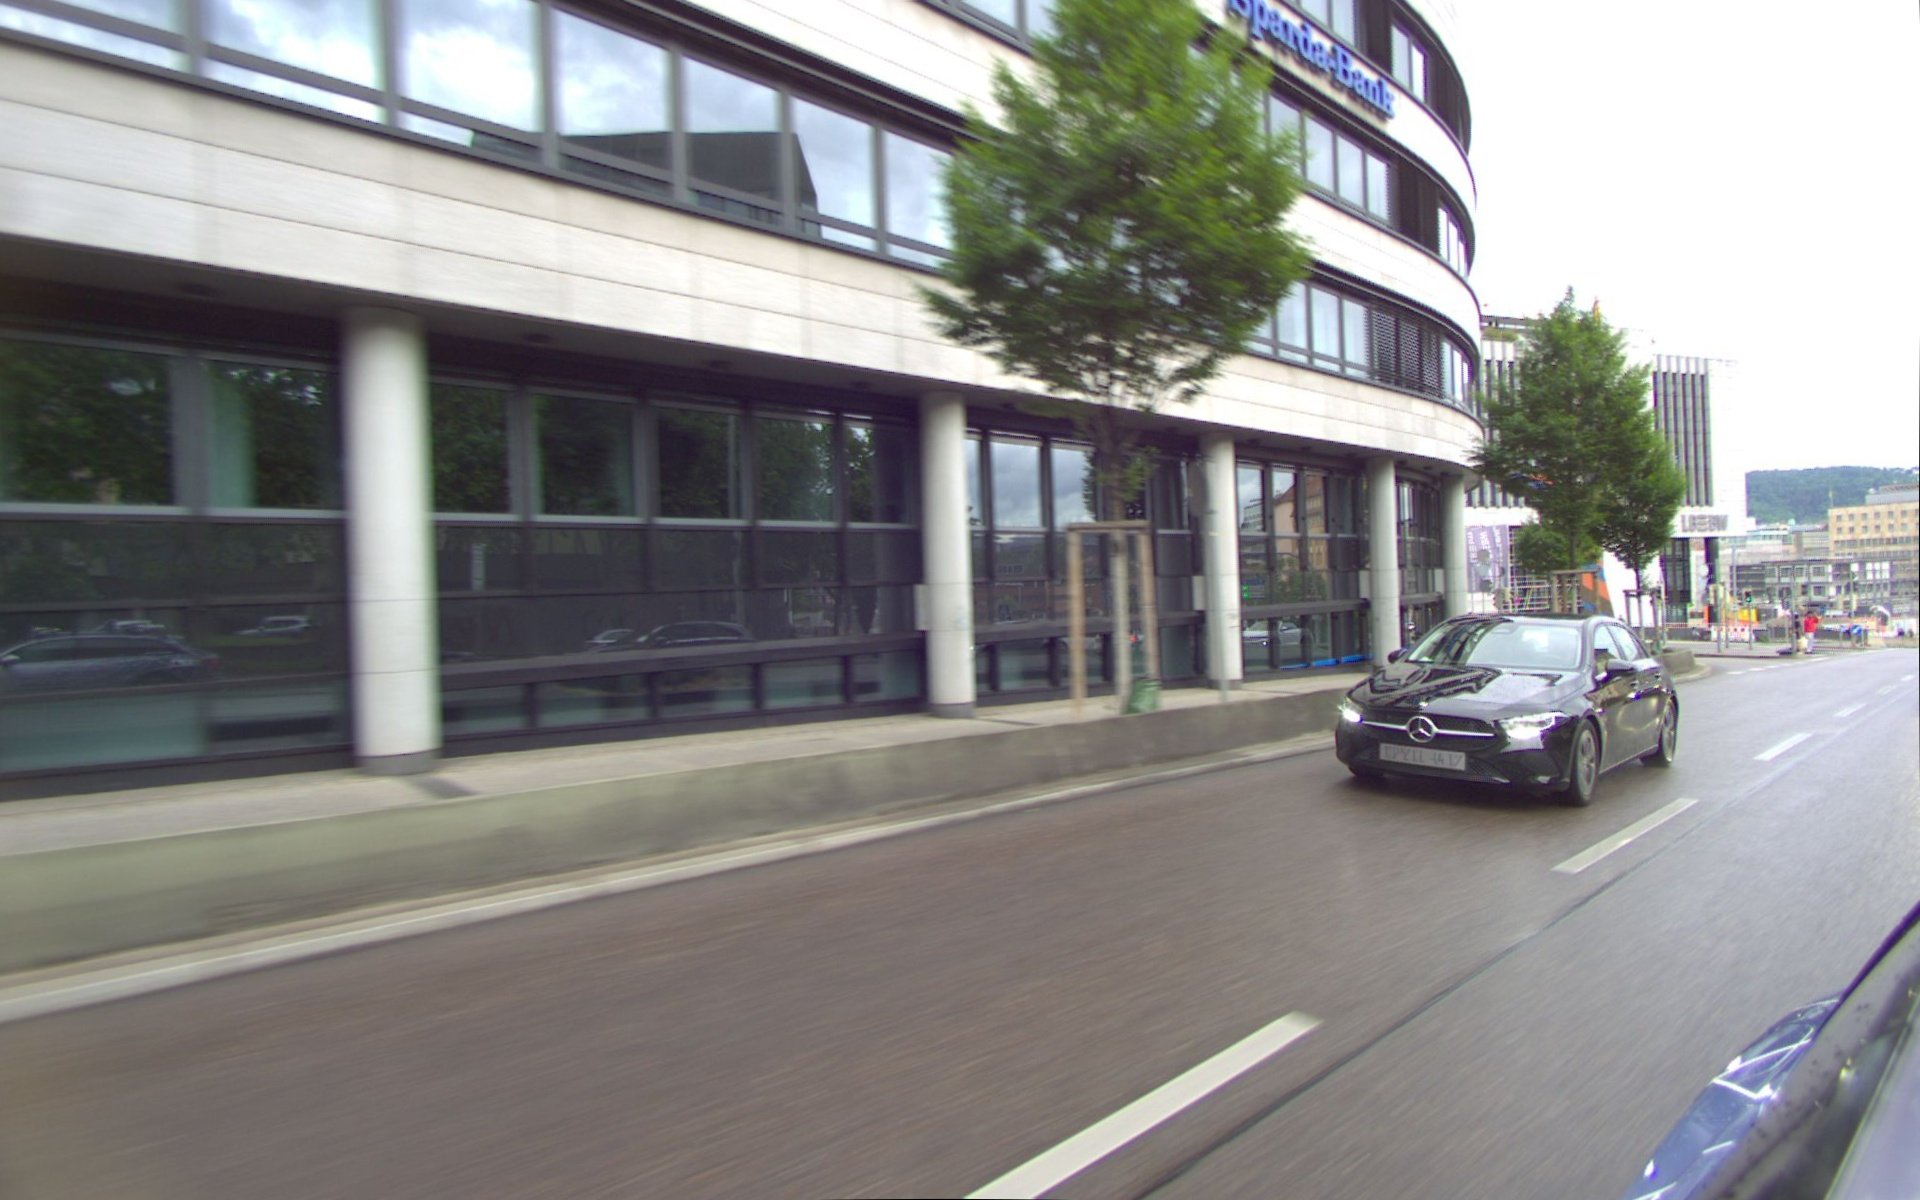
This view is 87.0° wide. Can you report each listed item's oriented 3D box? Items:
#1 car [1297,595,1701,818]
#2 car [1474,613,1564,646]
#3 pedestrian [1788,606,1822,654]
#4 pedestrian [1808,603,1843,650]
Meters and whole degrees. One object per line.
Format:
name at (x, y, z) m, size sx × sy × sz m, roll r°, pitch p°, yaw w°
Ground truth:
car at (4.789, 0.696, 8.717) m, size 4.135 × 1.455 × 1.874 m, roll 0°, pitch 0°, yaw -44°
car at (30.616, 1.603, 55.463) m, size 1.814 × 1.640 × 3.990 m, roll -1°, pitch 0°, yaw -44°
pedestrian at (35.338, 1.243, 42.325) m, size 0.753 × 1.971 × 0.992 m, roll 0°, pitch 0°, yaw -40°
pedestrian at (36.519, 1.107, 42.715) m, size 0.973 × 1.971 × 0.768 m, roll 0°, pitch 0°, yaw -24°
